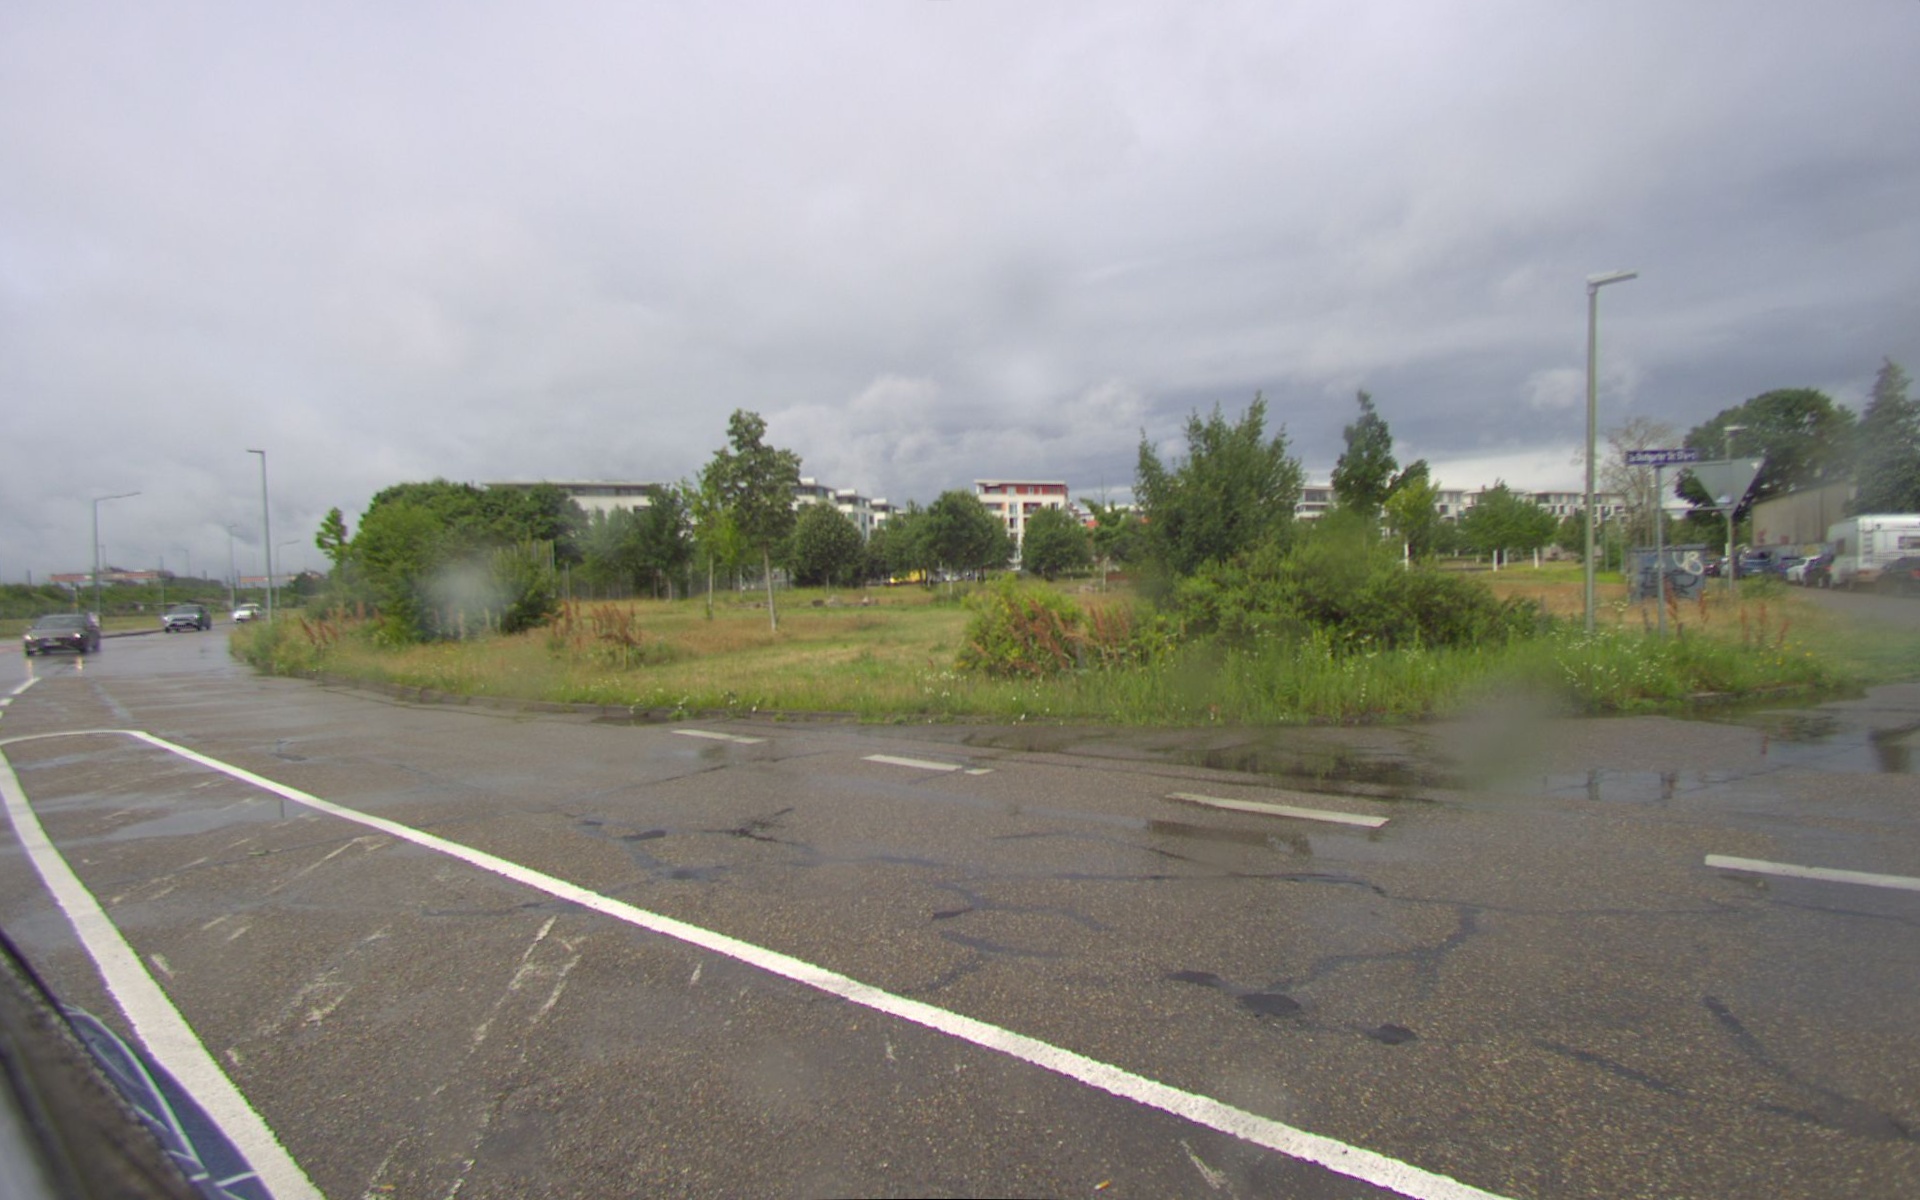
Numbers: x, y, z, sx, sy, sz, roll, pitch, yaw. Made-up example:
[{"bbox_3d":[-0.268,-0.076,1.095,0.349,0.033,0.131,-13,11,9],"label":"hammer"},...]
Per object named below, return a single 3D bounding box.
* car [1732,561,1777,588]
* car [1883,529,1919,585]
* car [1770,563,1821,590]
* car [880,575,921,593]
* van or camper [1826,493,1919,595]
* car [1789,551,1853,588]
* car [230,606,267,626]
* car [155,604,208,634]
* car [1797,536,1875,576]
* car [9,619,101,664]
[{"bbox_3d":[52.072,-1.673,66.363,1.643,1.652,3.961,-2,1,29],"label":"car"},{"bbox_3d":[32.341,-1.457,33.439,1.994,1.789,4.468,-1,1,33],"label":"car"},{"bbox_3d":[45.953,-1.300,55.739,1.640,1.408,3.956,-1,1,33],"label":"car"},{"bbox_3d":[-10.190,-2.811,173.899,6.527,2.632,1.973,-5,3,-24],"label":"car"},{"bbox_3d":[37.139,-2.190,40.729,2.647,3.772,5.785,-1,1,33],"label":"van or camper"},{"bbox_3d":[42.914,-1.524,50.519,1.876,1.716,3.956,-1,1,33],"label":"car"},{"bbox_3d":[-59.826,1.310,85.192,1.811,1.530,4.372,-2,1,-26],"label":"car"},{"bbox_3d":[-48.943,1.142,63.725,1.977,1.718,4.343,-3,1,-29],"label":"car"},{"bbox_3d":[39.858,-1.981,46.145,1.993,1.696,3.958,-2,1,31],"label":"car"},{"bbox_3d":[-34.558,1.550,38.768,1.843,1.530,4.370,0,0,-31],"label":"car"}]
